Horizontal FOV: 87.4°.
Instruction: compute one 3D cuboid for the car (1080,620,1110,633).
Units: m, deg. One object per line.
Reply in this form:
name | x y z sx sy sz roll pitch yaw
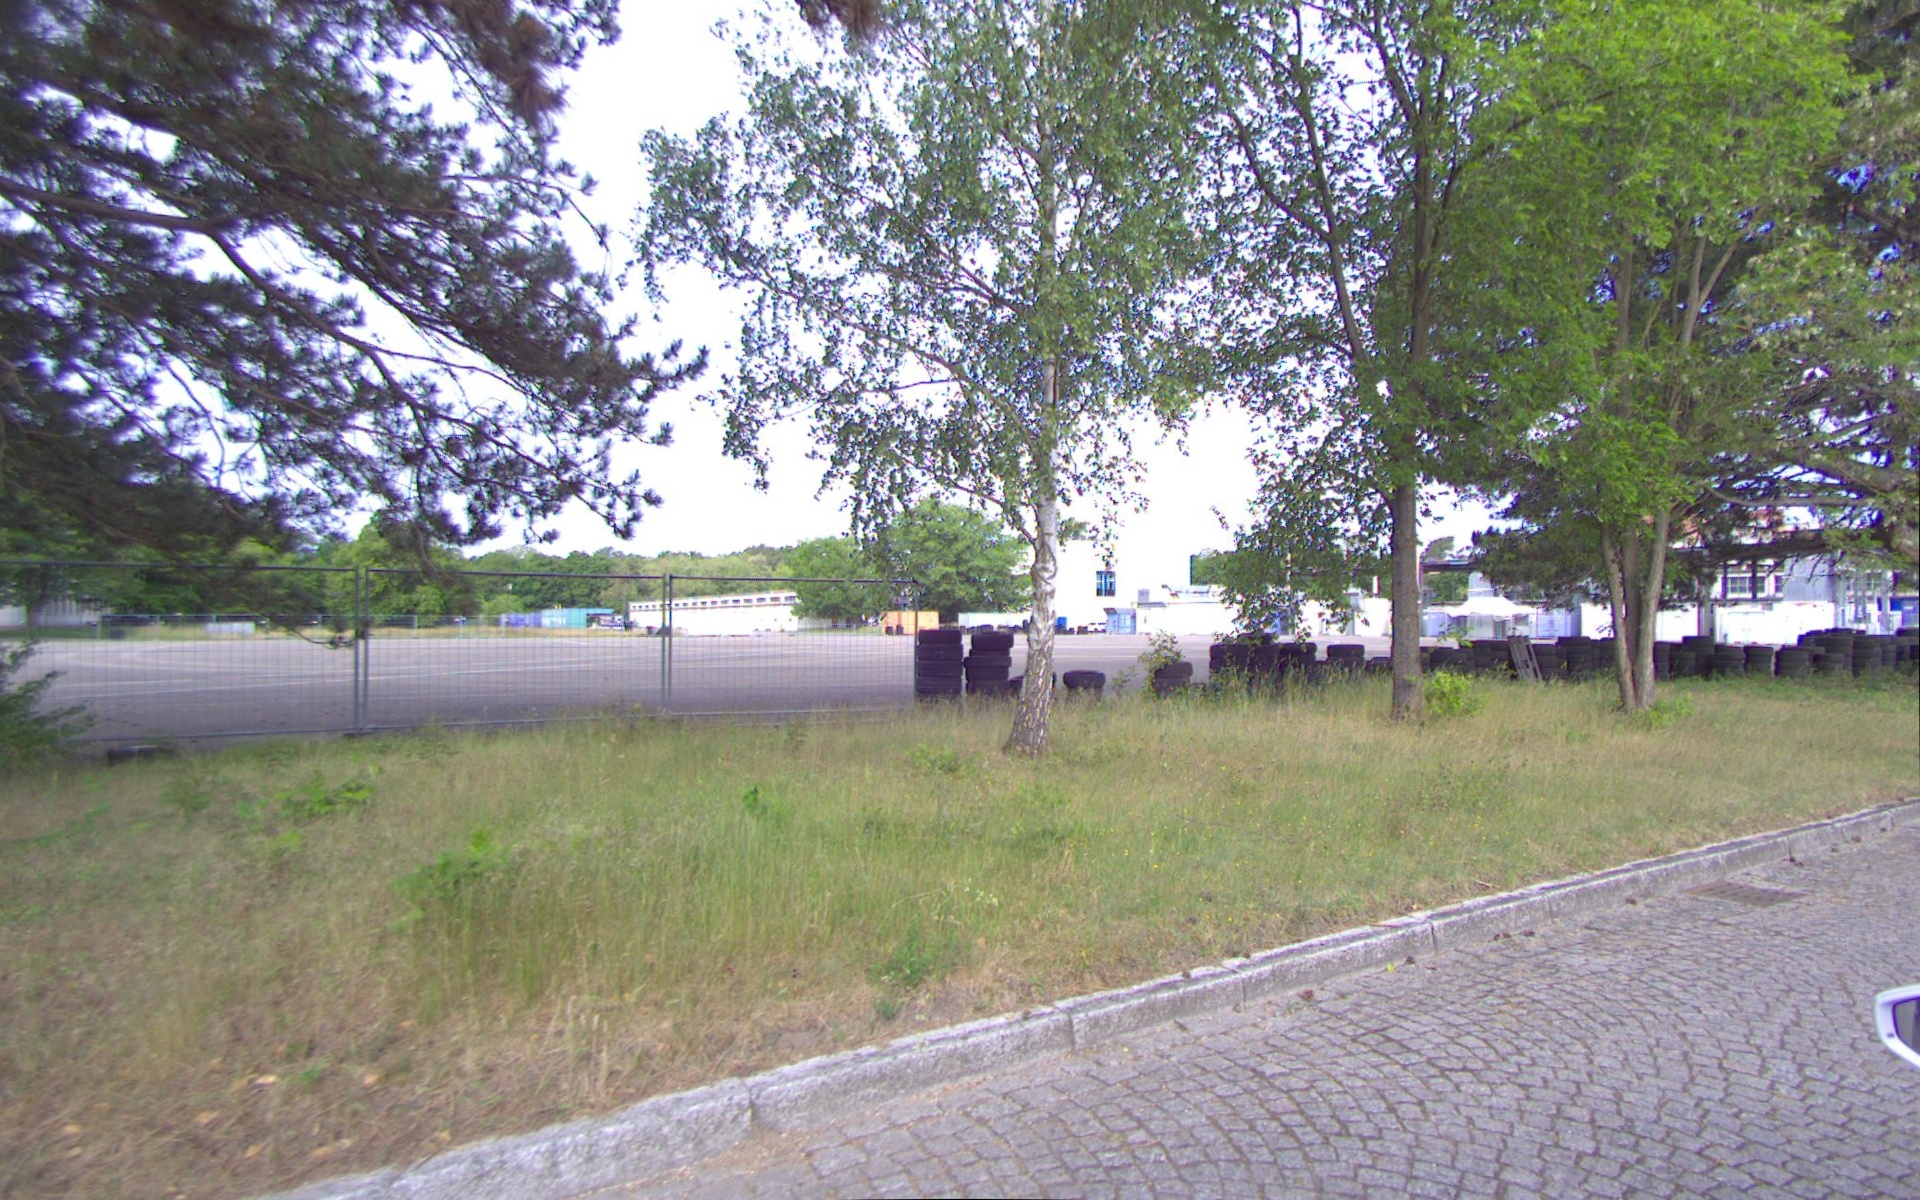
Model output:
car | 17.677 3.508 131.442 1.809 1.655 4.086 1 -1 -30
